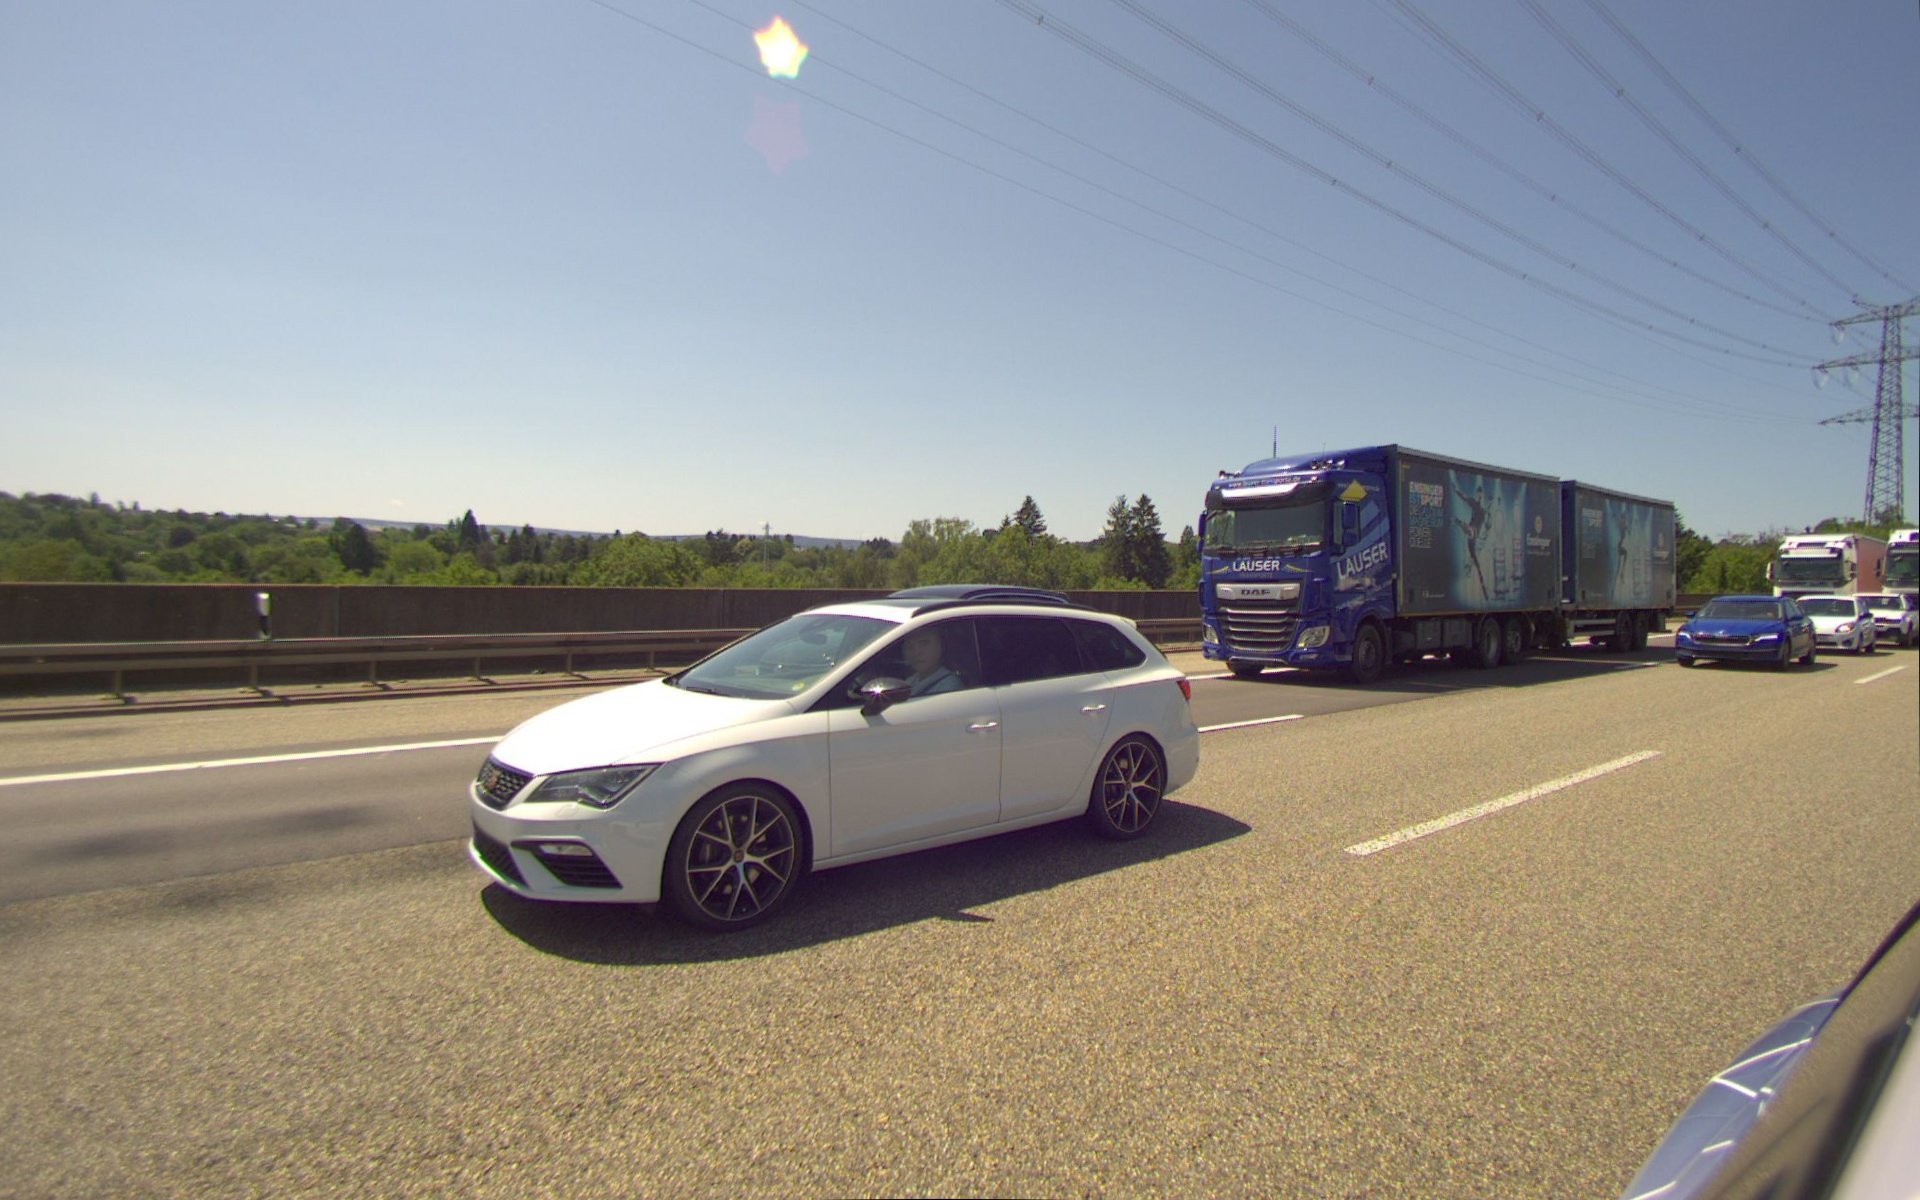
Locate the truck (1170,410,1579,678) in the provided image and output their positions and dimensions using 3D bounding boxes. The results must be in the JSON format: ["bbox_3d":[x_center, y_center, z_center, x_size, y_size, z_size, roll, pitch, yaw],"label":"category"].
[{"bbox_3d":[8.415,-0.912,19.468,10.210,3.999,2.857,-1,1,-40],"label":"truck"}]

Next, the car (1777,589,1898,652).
[{"bbox_3d":[22.434,0.466,25.821,4.071,1.470,1.712,-1,1,-40],"label":"car"}]

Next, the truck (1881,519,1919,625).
[{"bbox_3d":[38.431,-1.085,39.223,8.116,3.874,2.849,-1,0,-39],"label":"truck"}]

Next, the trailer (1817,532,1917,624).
[{"bbox_3d":[45.148,-1.080,50.256,8.927,4.169,2.606,-1,0,-41],"label":"trailer"}]

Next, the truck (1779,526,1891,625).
[{"bbox_3d":[38.706,-1.063,44.658,8.121,4.037,2.606,-1,0,-41],"label":"truck"}]

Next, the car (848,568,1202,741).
[{"bbox_3d":[0.863,0.492,11.730,4.045,1.675,1.712,-1,1,-40],"label":"car"}]

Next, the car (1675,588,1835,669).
[{"bbox_3d":[16.438,0.513,20.847,4.483,1.470,1.712,-1,1,-40],"label":"car"}]

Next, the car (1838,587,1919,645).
[{"bbox_3d":[26.399,0.403,28.654,4.071,1.528,1.712,-1,1,-40],"label":"car"}]

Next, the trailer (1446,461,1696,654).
[{"bbox_3d":[15.640,-0.972,25.562,8.485,4.140,2.833,-1,0,-40],"label":"trailer"}]

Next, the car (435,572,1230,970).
[{"bbox_3d":[-0.423,0.627,5.831,4.352,1.470,1.711,0,0,-41],"label":"car"}]
